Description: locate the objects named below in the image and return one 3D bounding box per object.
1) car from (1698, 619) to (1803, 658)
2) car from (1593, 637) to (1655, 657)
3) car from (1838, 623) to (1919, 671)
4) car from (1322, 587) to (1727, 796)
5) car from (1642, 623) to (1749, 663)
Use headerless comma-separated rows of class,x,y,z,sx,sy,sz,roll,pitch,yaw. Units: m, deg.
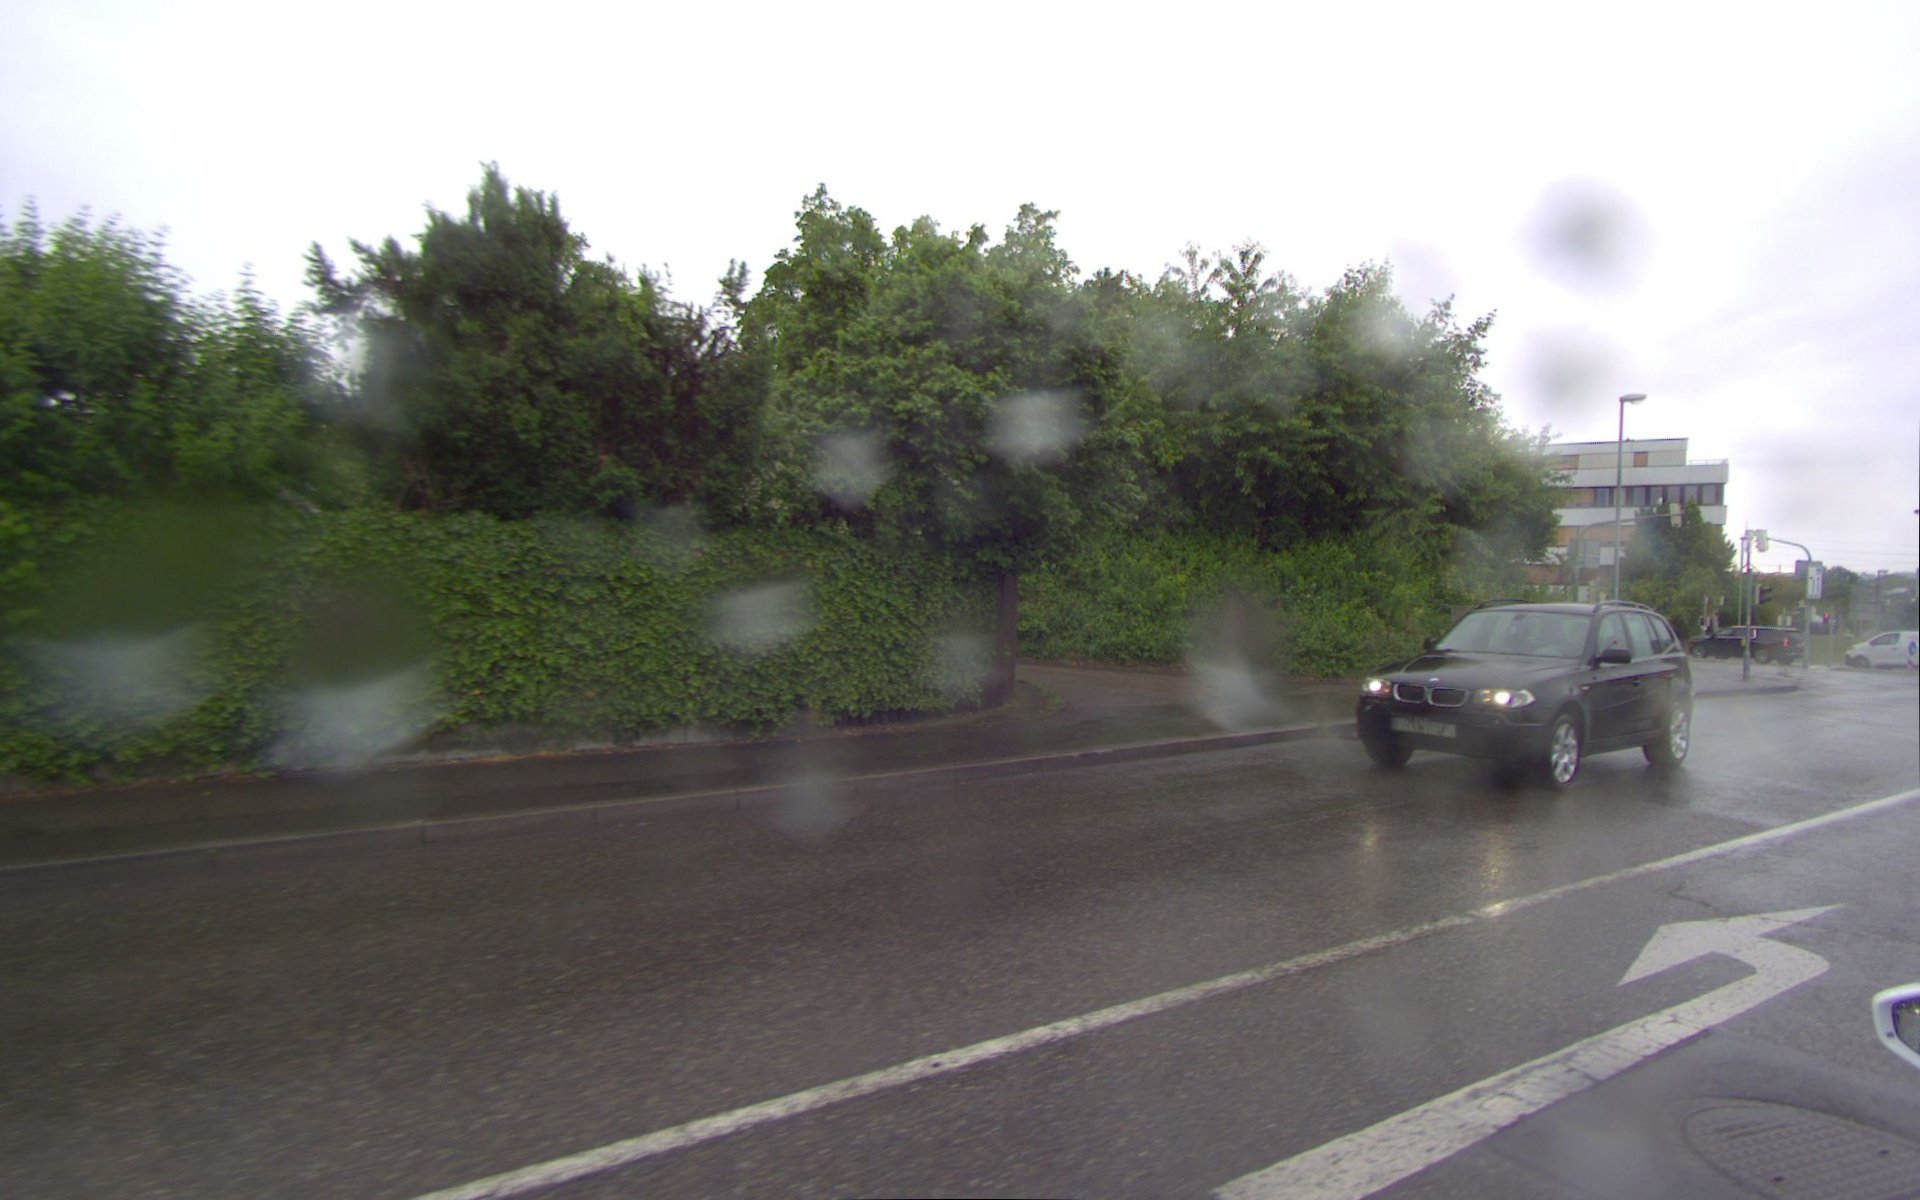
car,42.485,2.043,54.096,1.968,1.840,3.984,1,1,-18
car,44.972,3.167,68.057,3.457,1.120,1.815,2,0,34
car,43.185,2.146,45.352,1.969,2.040,4.991,2,0,-19
car,5.903,0.793,10.332,4.374,1.690,1.980,2,0,-36
car,38.110,2.198,52.170,1.966,1.865,4.143,2,0,-13
